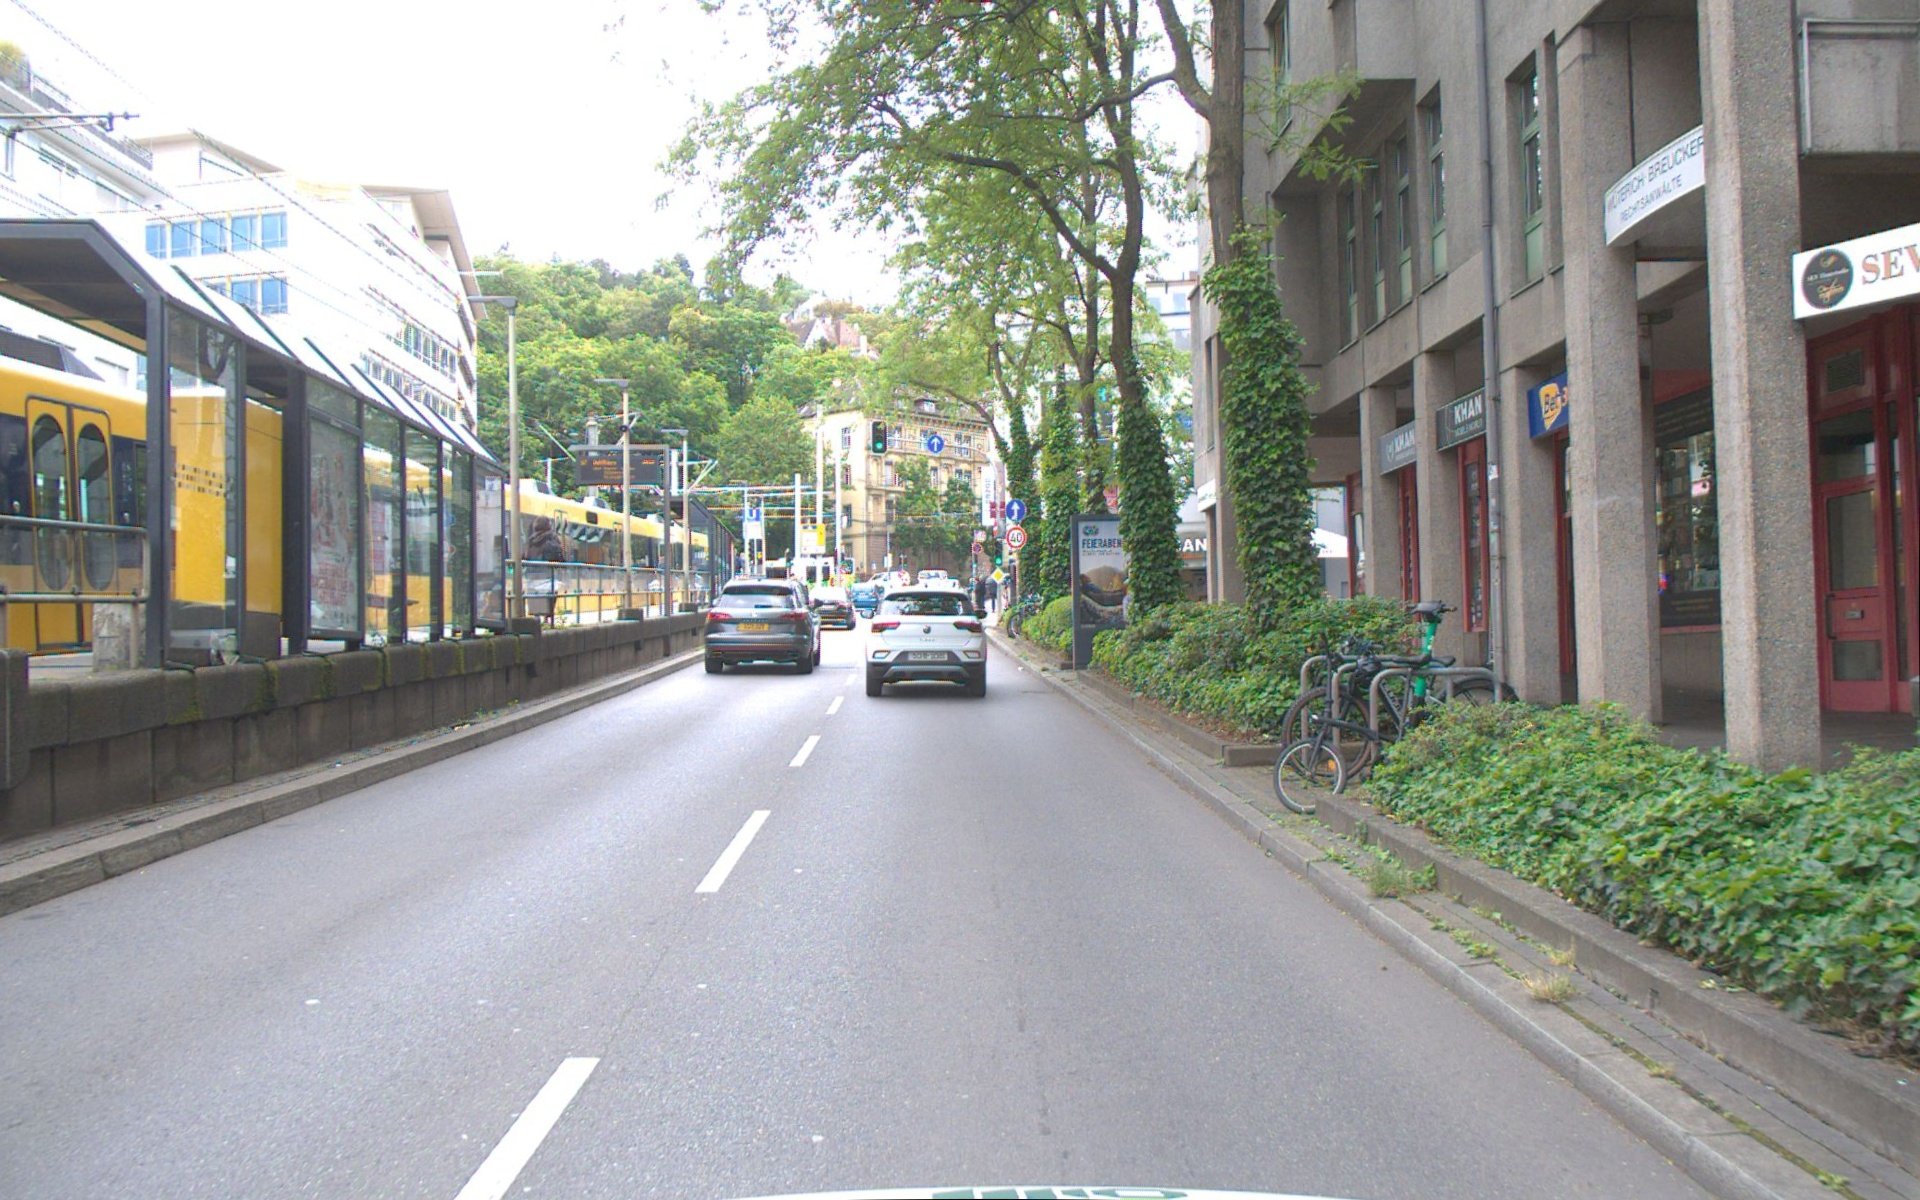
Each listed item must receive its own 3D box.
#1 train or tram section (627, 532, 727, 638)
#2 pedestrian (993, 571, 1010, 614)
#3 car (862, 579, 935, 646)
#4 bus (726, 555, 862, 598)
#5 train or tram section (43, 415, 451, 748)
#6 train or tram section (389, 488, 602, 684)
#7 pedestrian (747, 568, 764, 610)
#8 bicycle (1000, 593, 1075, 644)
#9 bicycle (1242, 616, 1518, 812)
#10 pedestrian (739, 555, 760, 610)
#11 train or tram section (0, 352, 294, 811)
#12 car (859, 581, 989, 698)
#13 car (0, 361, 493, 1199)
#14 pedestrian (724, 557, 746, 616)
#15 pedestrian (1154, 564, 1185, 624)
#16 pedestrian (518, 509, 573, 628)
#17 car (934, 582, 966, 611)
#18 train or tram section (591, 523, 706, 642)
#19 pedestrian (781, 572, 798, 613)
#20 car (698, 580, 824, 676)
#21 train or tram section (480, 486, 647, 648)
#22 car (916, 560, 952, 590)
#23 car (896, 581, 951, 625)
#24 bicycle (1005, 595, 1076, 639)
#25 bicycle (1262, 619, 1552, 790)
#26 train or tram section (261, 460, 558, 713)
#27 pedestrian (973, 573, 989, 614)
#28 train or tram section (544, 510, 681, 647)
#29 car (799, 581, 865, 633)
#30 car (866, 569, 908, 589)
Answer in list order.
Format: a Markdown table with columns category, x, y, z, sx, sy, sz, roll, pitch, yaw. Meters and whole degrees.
| category | x | y | z | sx | sy | sz | roll | pitch | yaw |
| --- | --- | --- | --- | --- | --- | --- | --- | --- | --- |
| train or tram section | -10.528 | -0.519 | 62.138 | 2.756 | 3.730 | 6.748 | 0 | 0 | -2 |
| pedestrian | 2.015 | -0.353 | 80.287 | 0.746 | 2.049 | 0.839 | 0 | -1 | 4 |
| car | -1.620 | 0.359 | 44.558 | 1.846 | 1.713 | 4.159 | 0 | -1 | -1 |
| bus | -13.476 | -1.834 | 133.043 | 13.099 | 3.118 | 3.359 | -1 | -2 | 45 |
| train or tram section | -8.924 | -0.195 | 21.557 | 2.756 | 3.730 | 5.901 | 0 | 0 | 0 |
| train or tram section | -9.631 | -0.252 | 35.077 | 2.756 | 3.730 | 6.748 | 0 | 0 | -2 |
| pedestrian | -10.090 | -0.561 | 81.670 | 0.746 | 2.049 | 0.838 | 0 | -1 | -1 |
| bicycle | 2.012 | 0.476 | 42.637 | 1.840 | 1.288 | 0.765 | 0 | -1 | 10 |
| bicycle | 2.679 | 0.717 | 10.672 | 1.586 | 1.147 | 0.613 | -3 | 0 | 3 |
| pedestrian | -7.992 | -0.652 | 62.754 | 0.747 | 2.049 | 0.837 | 1 | -1 | -8 |
| train or tram section | -8.890 | -0.140 | 15.717 | 2.777 | 3.582 | 5.751 | 0 | 0 | 0 |
| car | -0.487 | 0.549 | 25.060 | 1.800 | 1.611 | 4.157 | 0 | 0 | 0 |
| car | -3.184 | 0.531 | 4.408 | 2.316 | 2.049 | 5.148 | 0 | -1 | 1 |
| pedestrian | -7.975 | -0.478 | 58.531 | 0.747 | 2.049 | 0.837 | 1 | -1 | -8 |
| pedestrian | 5.711 | -0.158 | 45.063 | 0.627 | 1.636 | 0.584 | 1 | -2 | -21 |
| pedestrian | -6.405 | -0.484 | 25.585 | 0.614 | 1.793 | 0.846 | -1 | 0 | -1 |
| car | -0.604 | -0.181 | 102.766 | 1.846 | 1.713 | 4.161 | 0 | -1 | 1 |
| train or tram section | -10.306 | -0.535 | 55.371 | 2.756 | 3.730 | 6.748 | 0 | 0 | -2 |
| pedestrian | -8.618 | -0.364 | 83.691 | 0.746 | 2.049 | 0.838 | 0 | -1 | -1 |
| car | -3.623 | 0.476 | 30.782 | 1.953 | 1.664 | 3.999 | 0 | 0 | -2 |
| train or tram section | -9.859 | -0.752 | 41.847 | 2.756 | 3.730 | 6.748 | 0 | 0 | -2 |
| car | -1.902 | -1.812 | 120.964 | 2.315 | 2.049 | 5.149 | 0 | -1 | 2 |
| car | -1.535 | 0.155 | 67.909 | 1.849 | 1.713 | 4.154 | 1 | -1 | -7 |
| bicycle | 2.158 | 0.450 | 44.132 | 1.841 | 1.157 | 0.808 | 0 | -1 | 5 |
| bicycle | 3.195 | 0.734 | 11.901 | 1.878 | 1.095 | 0.613 | -3 | 0 | -4 |
| train or tram section | -8.976 | -0.188 | 27.888 | 2.756 | 3.730 | 6.750 | 0 | 0 | 0 |
| pedestrian | 1.050 | -0.334 | 83.094 | 0.746 | 2.049 | 0.839 | 0 | -1 | 4 |
| train or tram section | -10.074 | -0.563 | 48.617 | 2.756 | 3.730 | 6.748 | 0 | 0 | -2 |
| car | -4.393 | 0.214 | 57.188 | 1.872 | 1.719 | 4.001 | 1 | 1 | 1 |
| car | -6.666 | -1.934 | 151.927 | 1.878 | 1.719 | 3.989 | 1 | 1 | 32 |
